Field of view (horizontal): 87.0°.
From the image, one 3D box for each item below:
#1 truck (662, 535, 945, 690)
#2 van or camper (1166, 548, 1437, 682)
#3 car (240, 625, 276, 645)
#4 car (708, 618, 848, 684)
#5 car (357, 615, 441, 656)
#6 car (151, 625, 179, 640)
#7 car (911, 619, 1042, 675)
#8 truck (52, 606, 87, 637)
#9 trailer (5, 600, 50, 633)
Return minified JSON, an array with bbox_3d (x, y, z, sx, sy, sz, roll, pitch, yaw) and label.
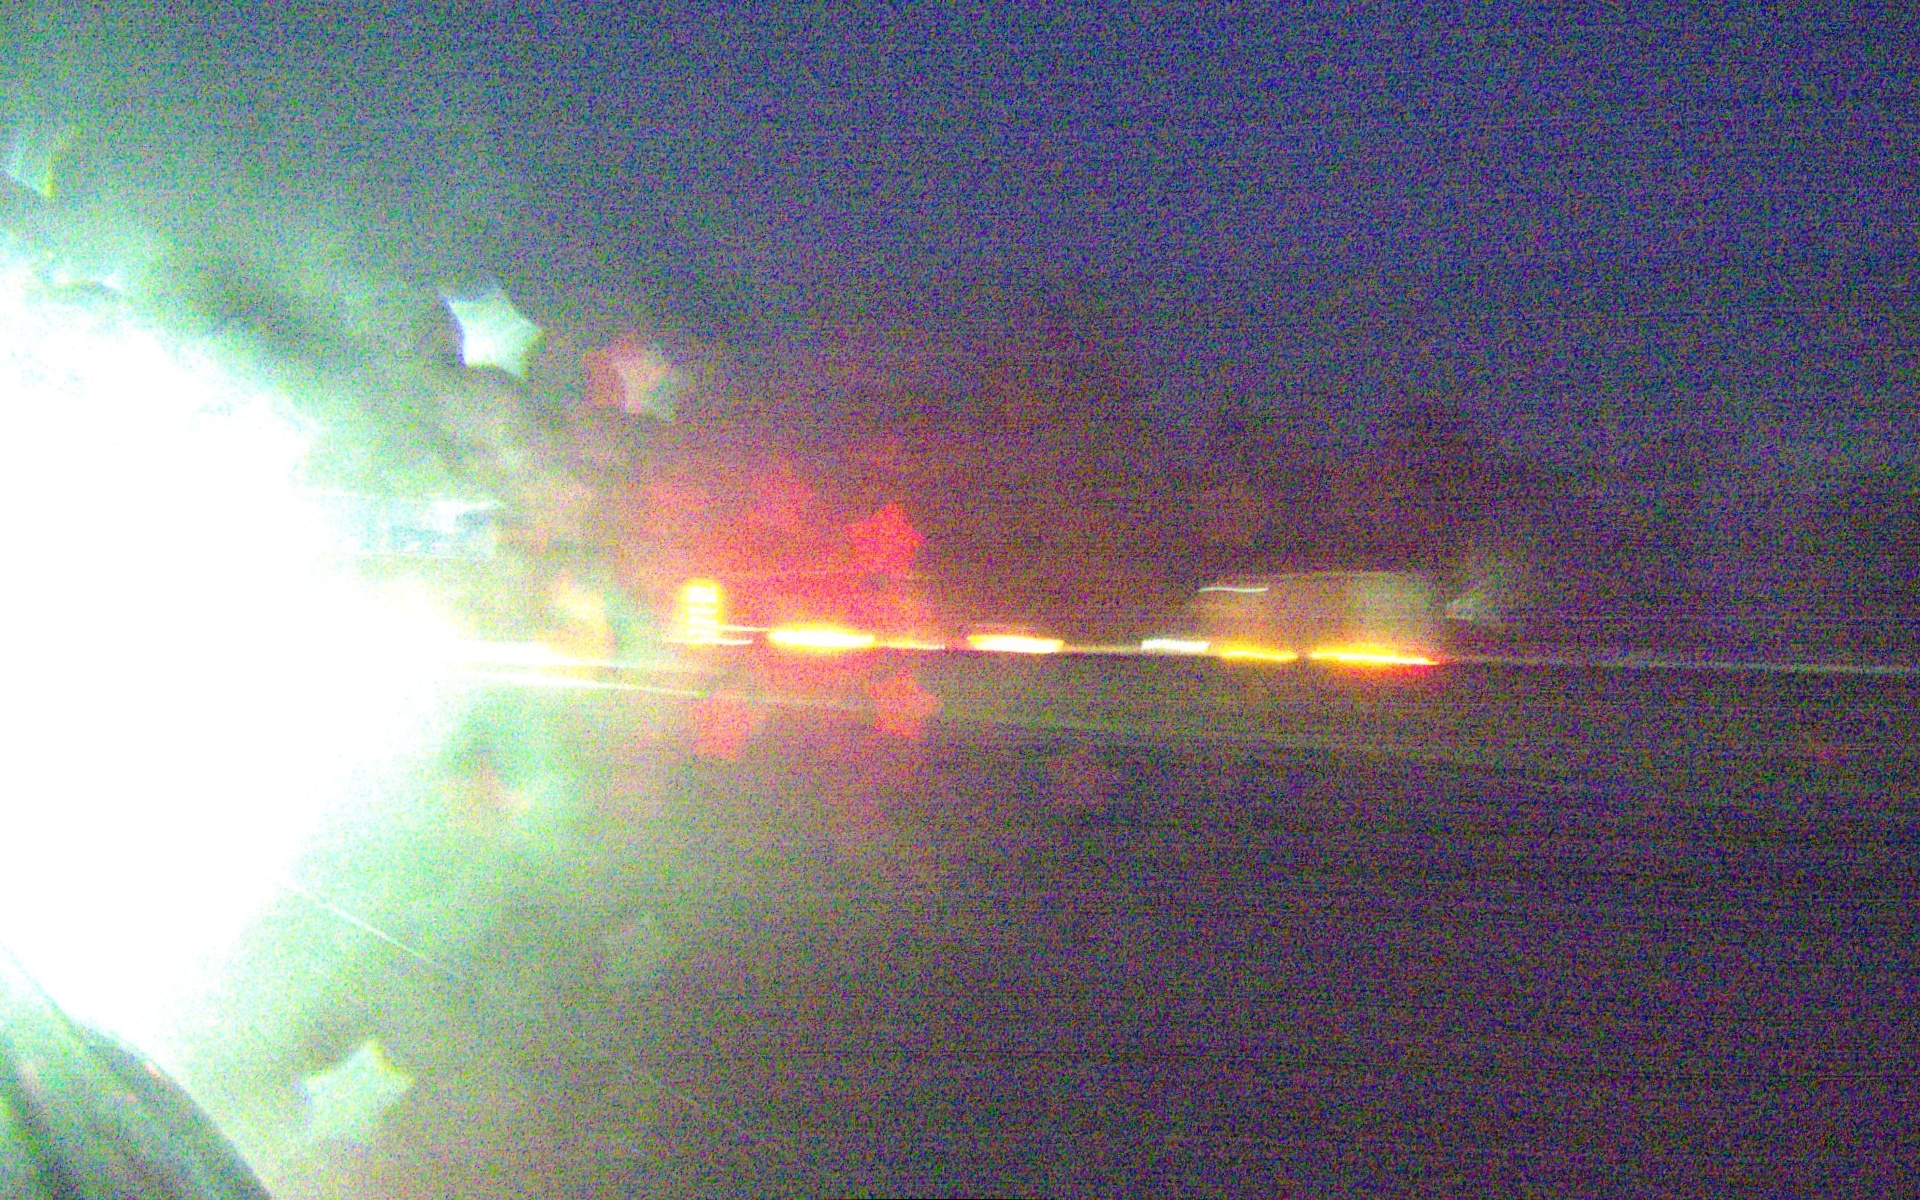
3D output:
[{"bbox_3d":[-8.220,0.572,49.038,17.295,6.460,3.189,-1,0,41],"label":"truck"},{"bbox_3d":[10.478,0.429,31.701,7.676,3.729,2.488,-1,0,41],"label":"van or camper"},{"bbox_3d":[-63.447,3.142,91.468,3.998,1.702,1.743,-1,0,41],"label":"car"},{"bbox_3d":[-5.652,1.502,31.099,4.754,1.812,1.647,-1,0,41],"label":"car"},{"bbox_3d":[-28.207,1.744,50.830,5.266,1.904,2.052,-1,0,41],"label":"car"},{"bbox_3d":[-91.026,3.718,115.890,3.998,1.584,1.781,-1,0,41],"label":"car"},{"bbox_3d":[0.489,1.475,32.930,4.203,1.640,1.659,-1,0,41],"label":"car"},{"bbox_3d":[-164.994,3.909,187.529,12.789,5.634,3.205,-1,0,41],"label":"truck"},{"bbox_3d":[-148.825,2.638,161.378,14.794,5.065,3.749,-1,0,41],"label":"trailer"}]
